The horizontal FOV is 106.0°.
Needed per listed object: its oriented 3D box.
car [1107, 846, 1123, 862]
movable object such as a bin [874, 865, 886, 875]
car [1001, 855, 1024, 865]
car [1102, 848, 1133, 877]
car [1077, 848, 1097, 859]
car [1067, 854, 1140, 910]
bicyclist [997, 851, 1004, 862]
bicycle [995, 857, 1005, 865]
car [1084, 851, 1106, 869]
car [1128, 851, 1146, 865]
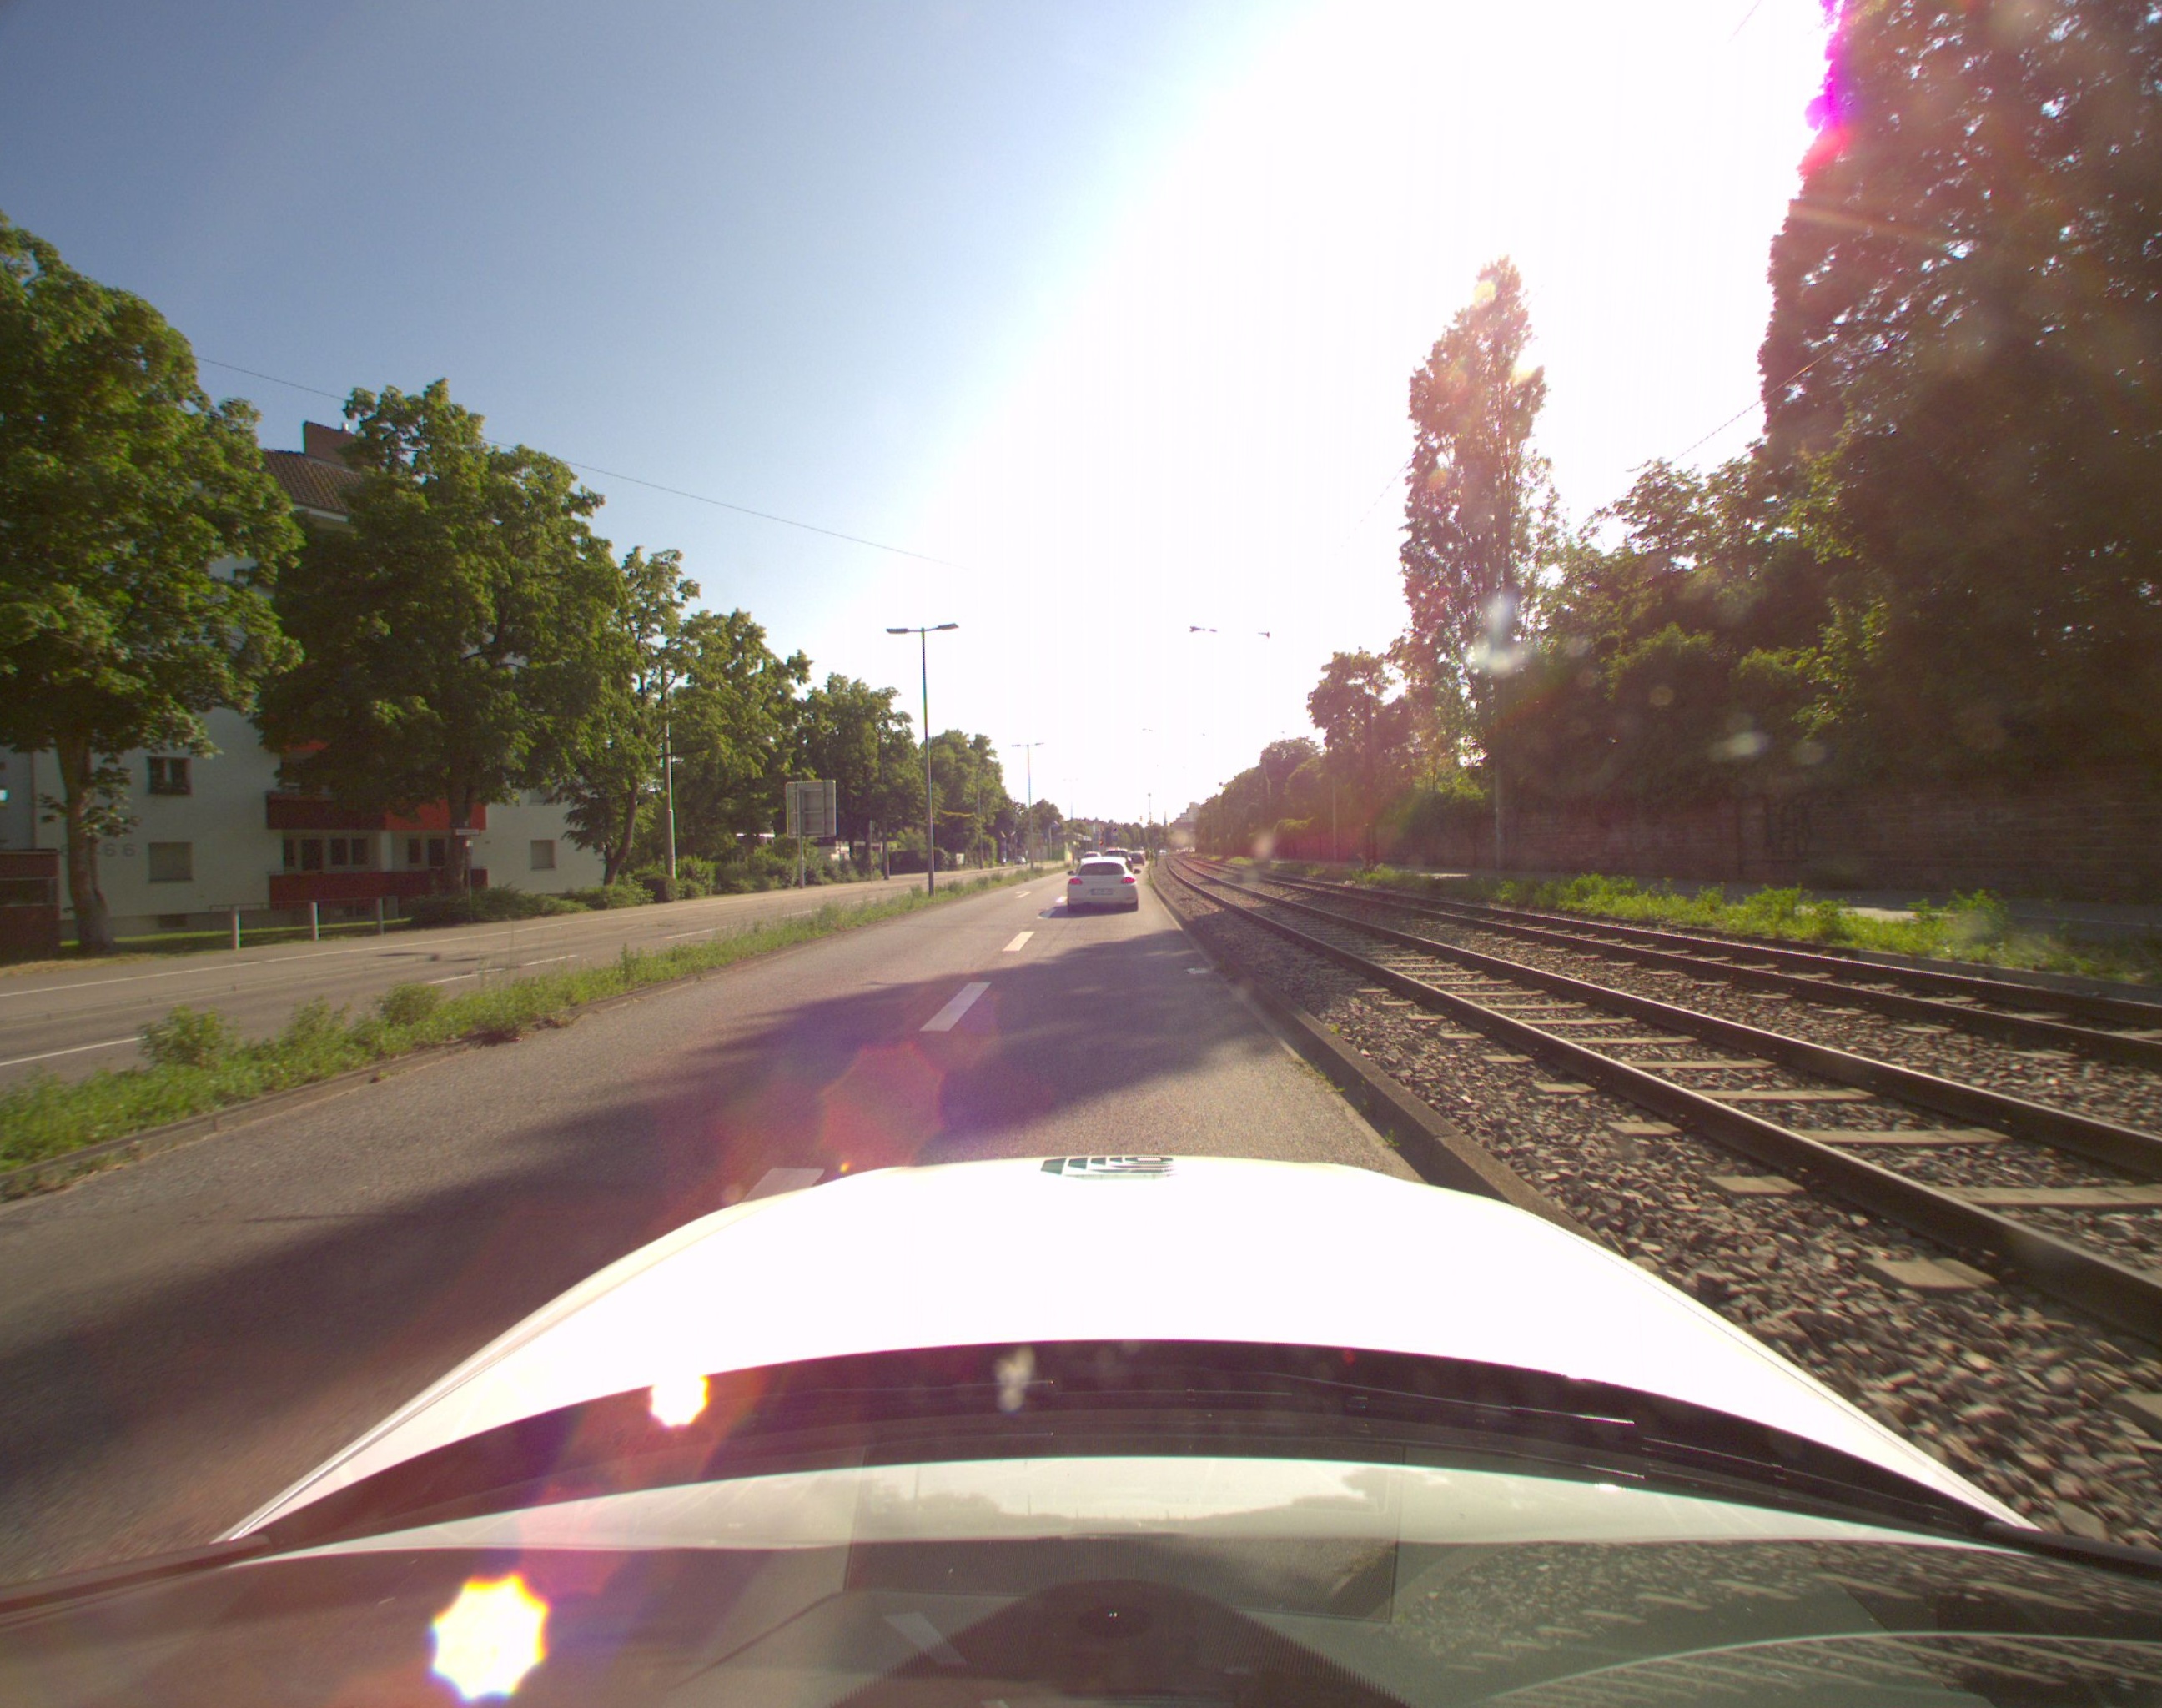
[{"bbox_3d":[4.304,-0.022,103.817,1.809,1.963,4.408,-2,0,4],"label":"car"},{"bbox_3d":[-19.025,1.522,77.066,0.812,0.931,0.854,-2,0,4],"label":"movable object such as a bin"},{"bbox_3d":[-11.598,1.053,138.524,3.555,1.588,1.709,0,0,23],"label":"car"},{"bbox_3d":[2.105,0.470,46.839,1.717,1.593,3.603,0,0,2],"label":"car"},{"bbox_3d":[0.980,-0.019,131.322,1.658,1.734,3.920,0,0,-24],"label":"car"},{"bbox_3d":[0.618,0.682,21.697,1.774,1.356,3.603,0,0,2],"label":"car"},{"bbox_3d":[-11.282,0.323,113.697,0.658,1.452,1.053,-2,0,9],"label":"bicyclist"},{"bbox_3d":[-11.271,0.984,113.628,0.658,1.049,2.587,-2,0,9],"label":"bicycle"},{"bbox_3d":[1.249,0.467,70.154,1.753,1.485,4.647,0,0,2],"label":"car"},{"bbox_3d":[5.814,0.403,85.259,1.742,1.485,3.603,0,0,2],"label":"car"}]
